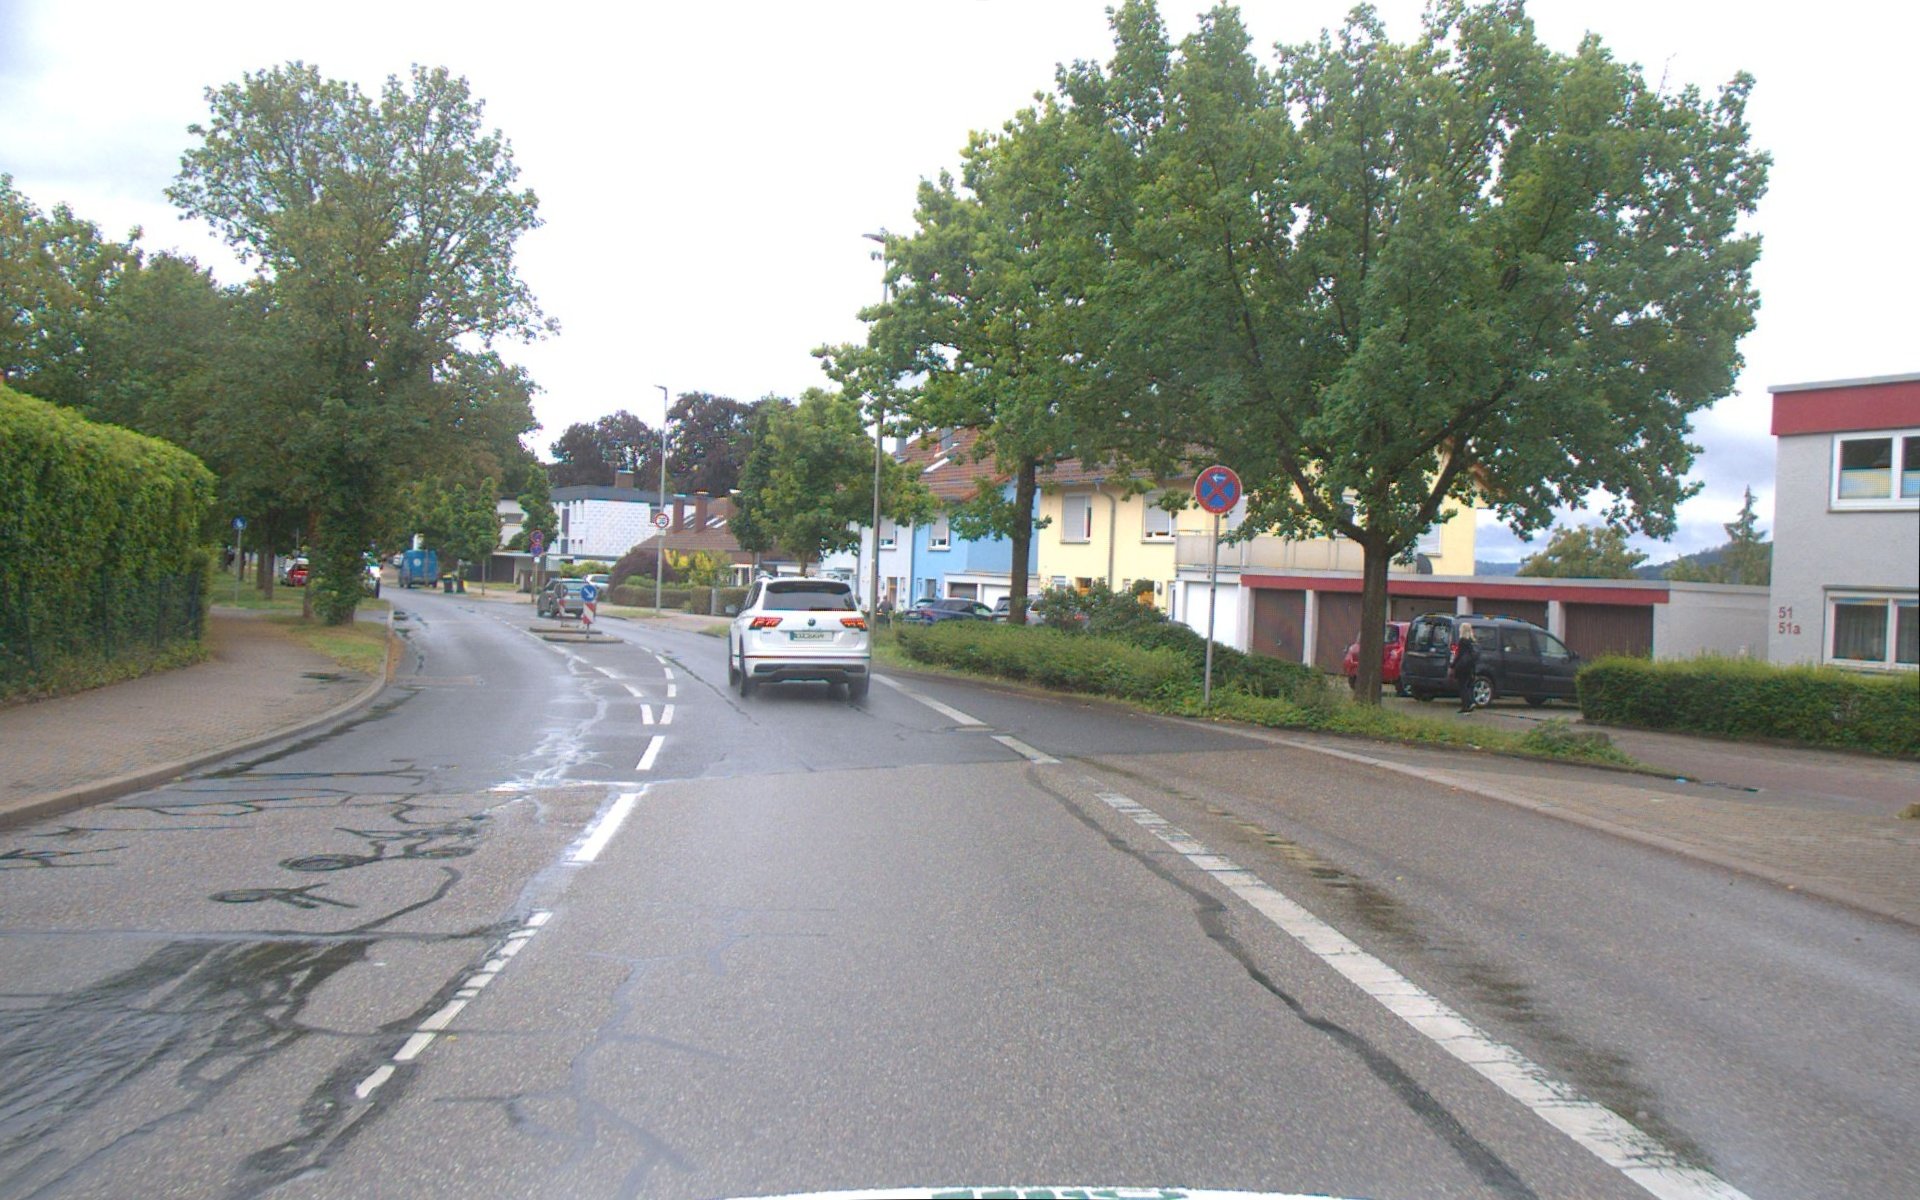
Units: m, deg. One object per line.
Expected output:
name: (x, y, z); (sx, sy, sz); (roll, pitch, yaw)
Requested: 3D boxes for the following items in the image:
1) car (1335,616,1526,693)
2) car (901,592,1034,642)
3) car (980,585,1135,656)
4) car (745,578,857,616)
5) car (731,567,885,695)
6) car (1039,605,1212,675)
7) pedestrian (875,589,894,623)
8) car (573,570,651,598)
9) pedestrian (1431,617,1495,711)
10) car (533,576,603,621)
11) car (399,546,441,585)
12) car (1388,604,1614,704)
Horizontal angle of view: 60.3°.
car: (9.714, 1.127, 34.145); (3.651, 1.467, 1.691); (2, 0, -29)
car: (0.256, 0.541, 52.729); (3.944, 1.411, 1.658); (2, 0, -30)
car: (2.785, 0.596, 46.727); (4.143, 1.700, 1.701); (5, -1, -35)
car: (-6.459, -0.102, 67.272); (4.271, 1.282, 1.657); (3, 0, -37)
car: (-2.295, 0.395, 24.065); (1.832, 1.679, 3.989); (1, 0, -11)
car: (4.397, 1.063, 43.932); (4.128, 1.700, 1.975); (2, 0, -26)
pedestrian: (-3.050, 0.246, 66.920); (0.532, 1.374, 0.522); (2, 0, -40)
car: (-19.616, -0.887, 93.325); (3.942, 1.467, 1.830); (2, 0, -29)
pedestrian: (8.824, 1.111, 29.030); (0.657, 1.585, 0.833); (0, 1, -32)
car: (-14.818, -0.072, 62.394); (1.747, 1.578, 3.967); (2, 0, -26)
car: (-37.770, -2.406, 115.681); (1.970, 2.631, 5.585); (0, 2, -27)
car: (10.323, 1.028, 31.550); (3.942, 1.751, 1.906); (2, 0, -29)
